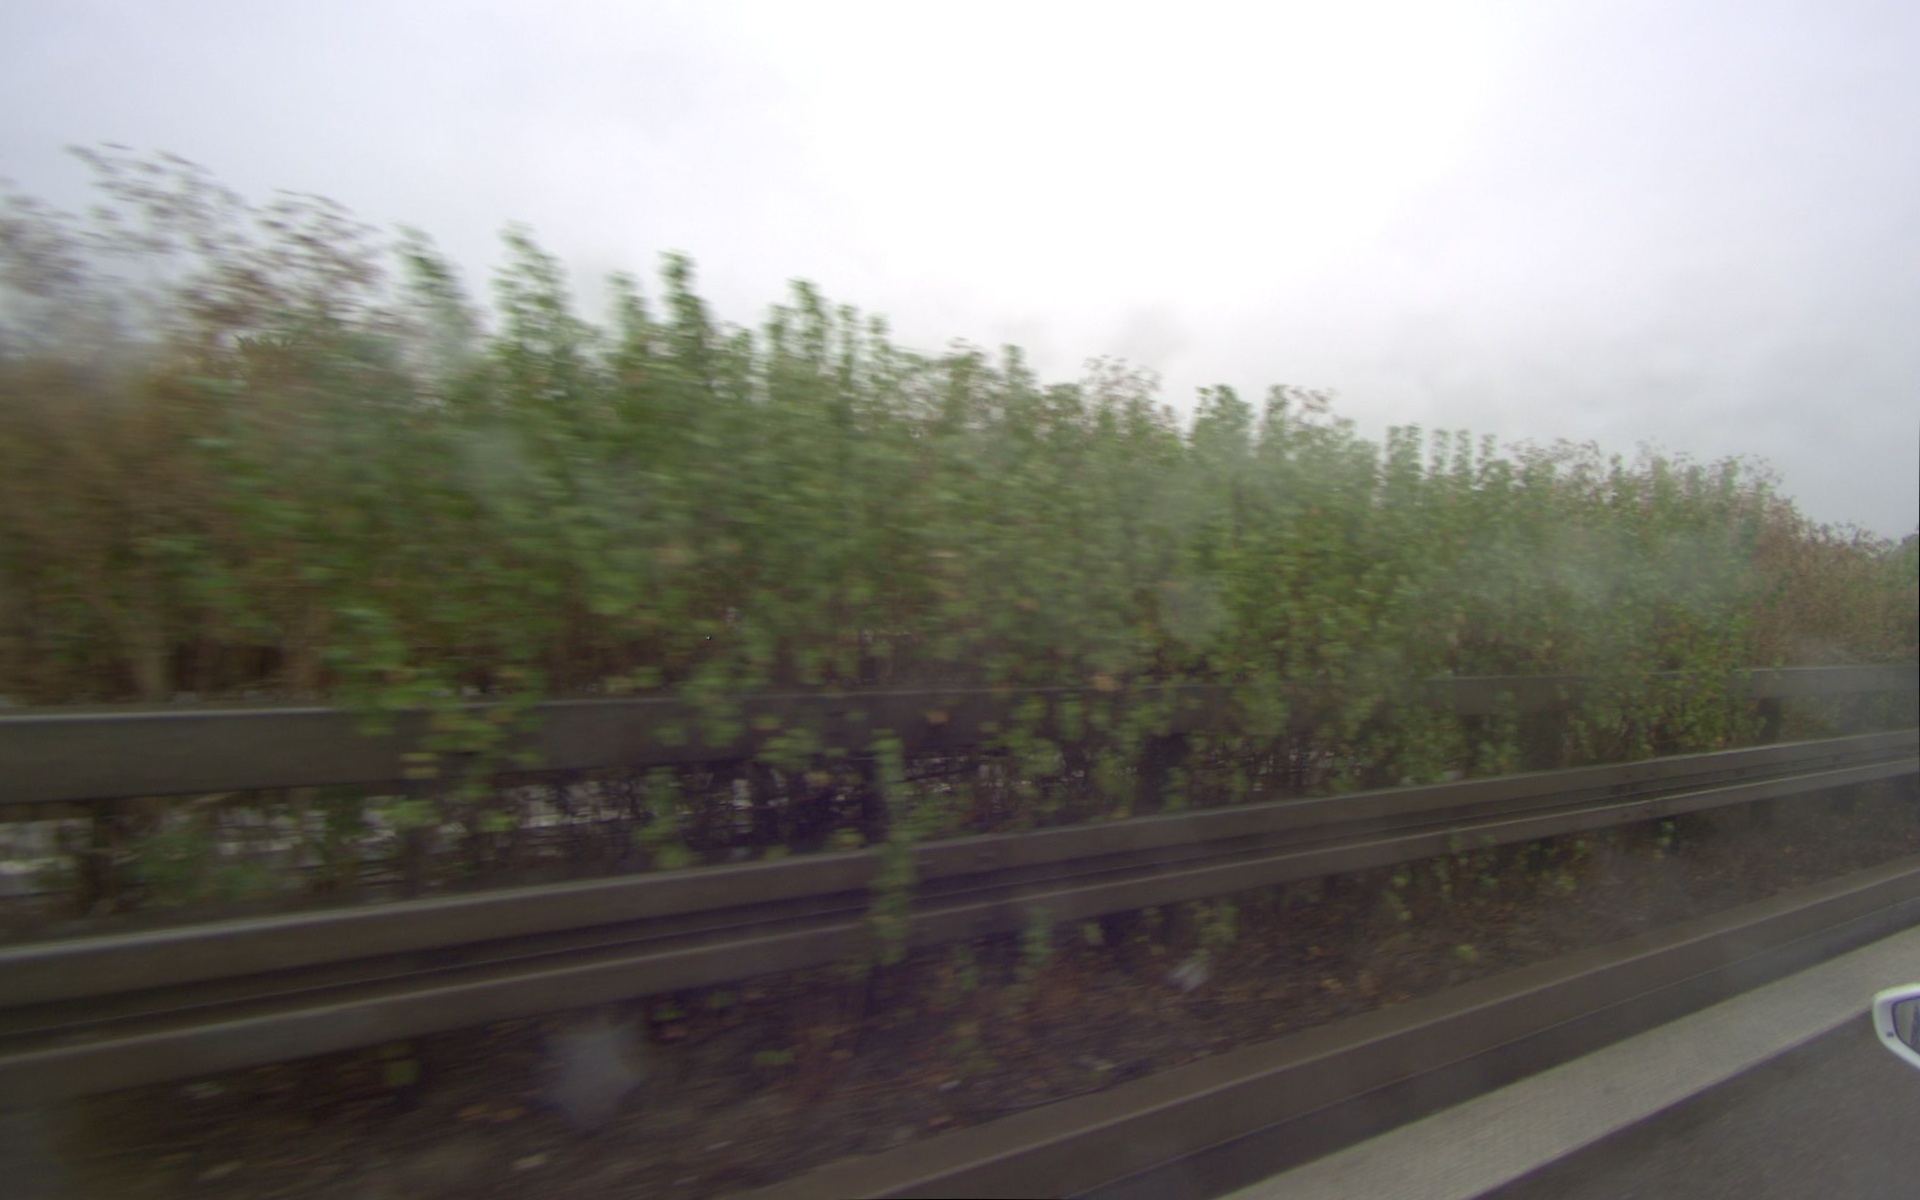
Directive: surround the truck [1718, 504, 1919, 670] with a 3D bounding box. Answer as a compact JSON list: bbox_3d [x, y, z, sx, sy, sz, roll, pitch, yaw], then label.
[{"bbox_3d":[38.946,-0.324,43.329,15.813,6.207,4.093,1,0,-30],"label":"truck"}]
